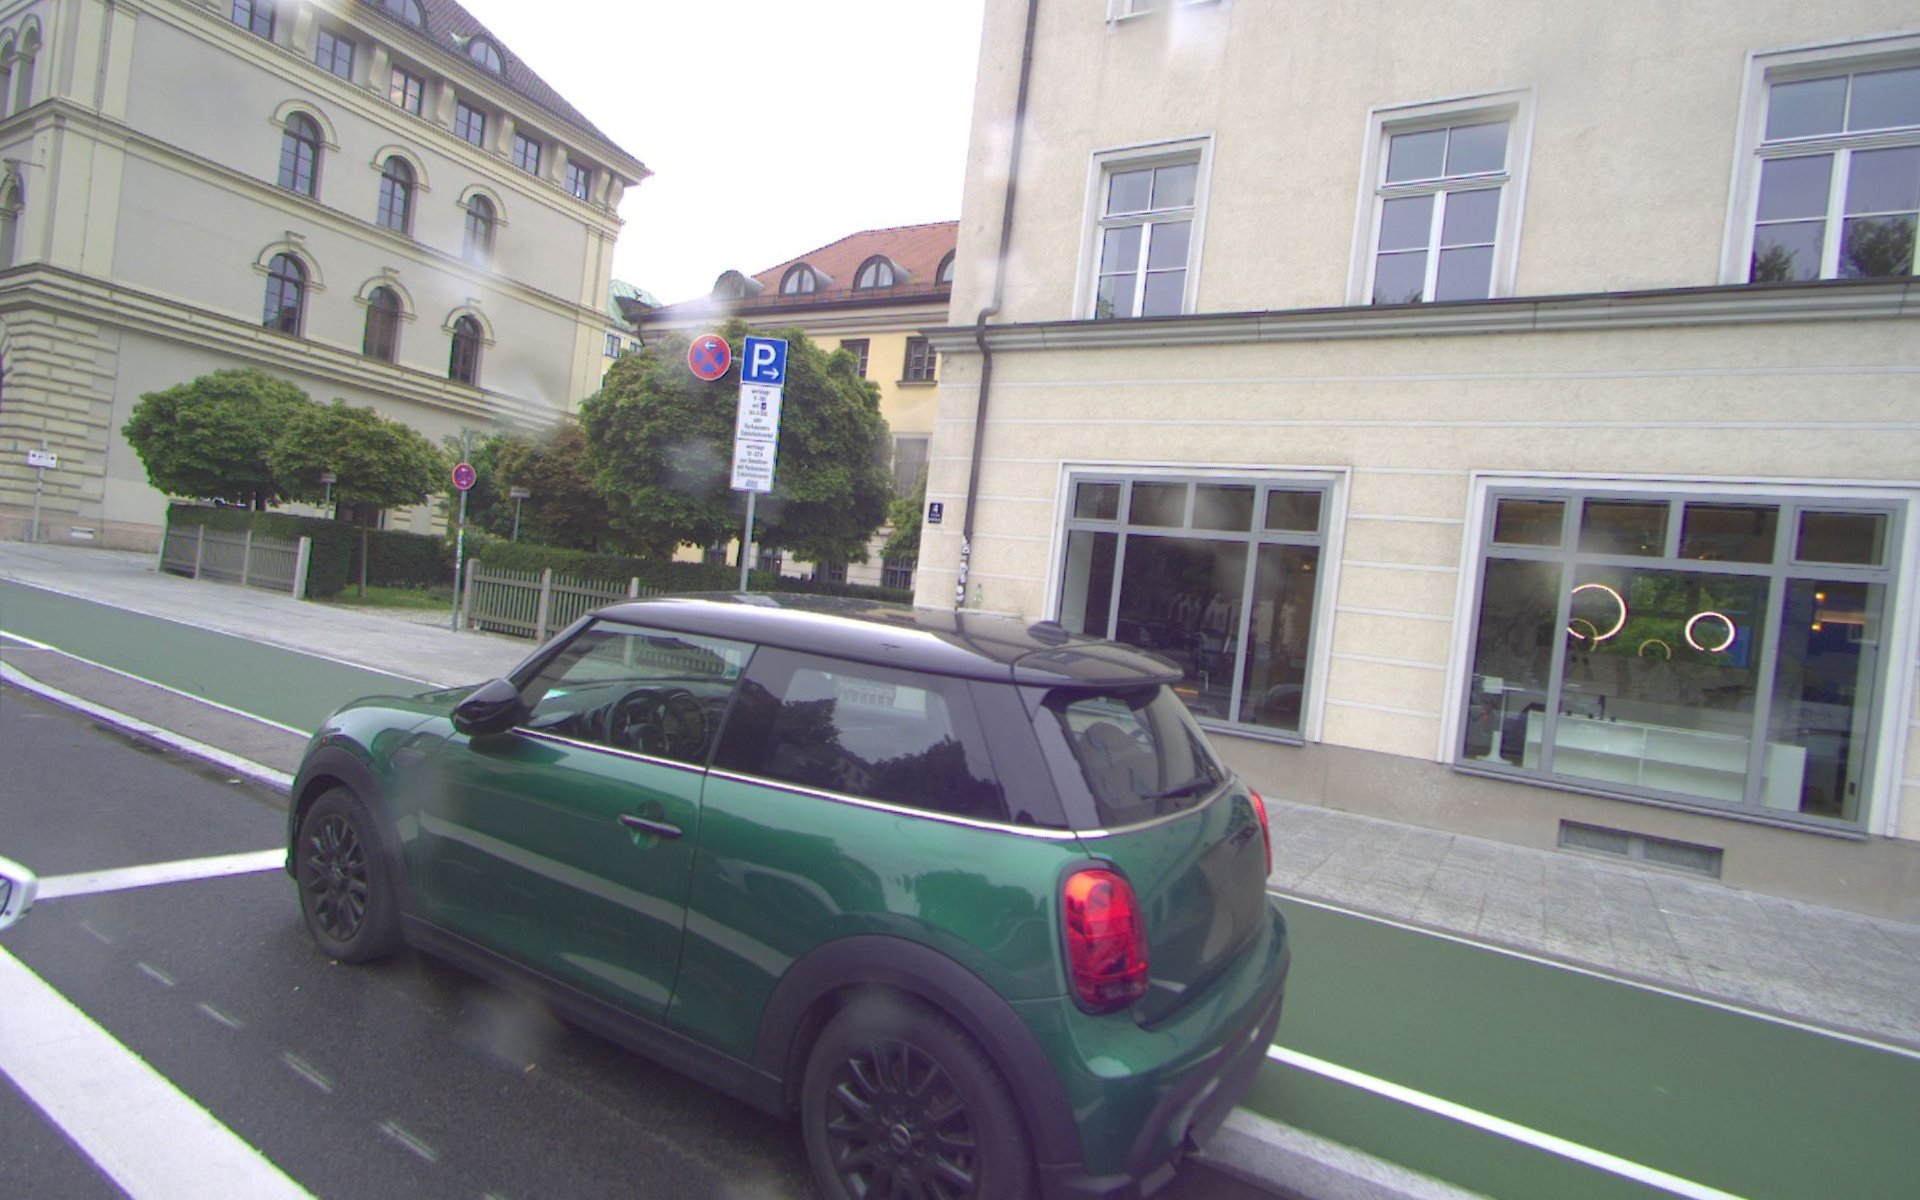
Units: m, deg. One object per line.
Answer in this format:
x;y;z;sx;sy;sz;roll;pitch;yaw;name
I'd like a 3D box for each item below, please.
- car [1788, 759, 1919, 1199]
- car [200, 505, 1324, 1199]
3.530;1.234;0.424;4.642;1.424;1.829;7;-2;33;car
-0.888;0.657;3.671;3.766;1.538;1.678;7;-1;32;car
